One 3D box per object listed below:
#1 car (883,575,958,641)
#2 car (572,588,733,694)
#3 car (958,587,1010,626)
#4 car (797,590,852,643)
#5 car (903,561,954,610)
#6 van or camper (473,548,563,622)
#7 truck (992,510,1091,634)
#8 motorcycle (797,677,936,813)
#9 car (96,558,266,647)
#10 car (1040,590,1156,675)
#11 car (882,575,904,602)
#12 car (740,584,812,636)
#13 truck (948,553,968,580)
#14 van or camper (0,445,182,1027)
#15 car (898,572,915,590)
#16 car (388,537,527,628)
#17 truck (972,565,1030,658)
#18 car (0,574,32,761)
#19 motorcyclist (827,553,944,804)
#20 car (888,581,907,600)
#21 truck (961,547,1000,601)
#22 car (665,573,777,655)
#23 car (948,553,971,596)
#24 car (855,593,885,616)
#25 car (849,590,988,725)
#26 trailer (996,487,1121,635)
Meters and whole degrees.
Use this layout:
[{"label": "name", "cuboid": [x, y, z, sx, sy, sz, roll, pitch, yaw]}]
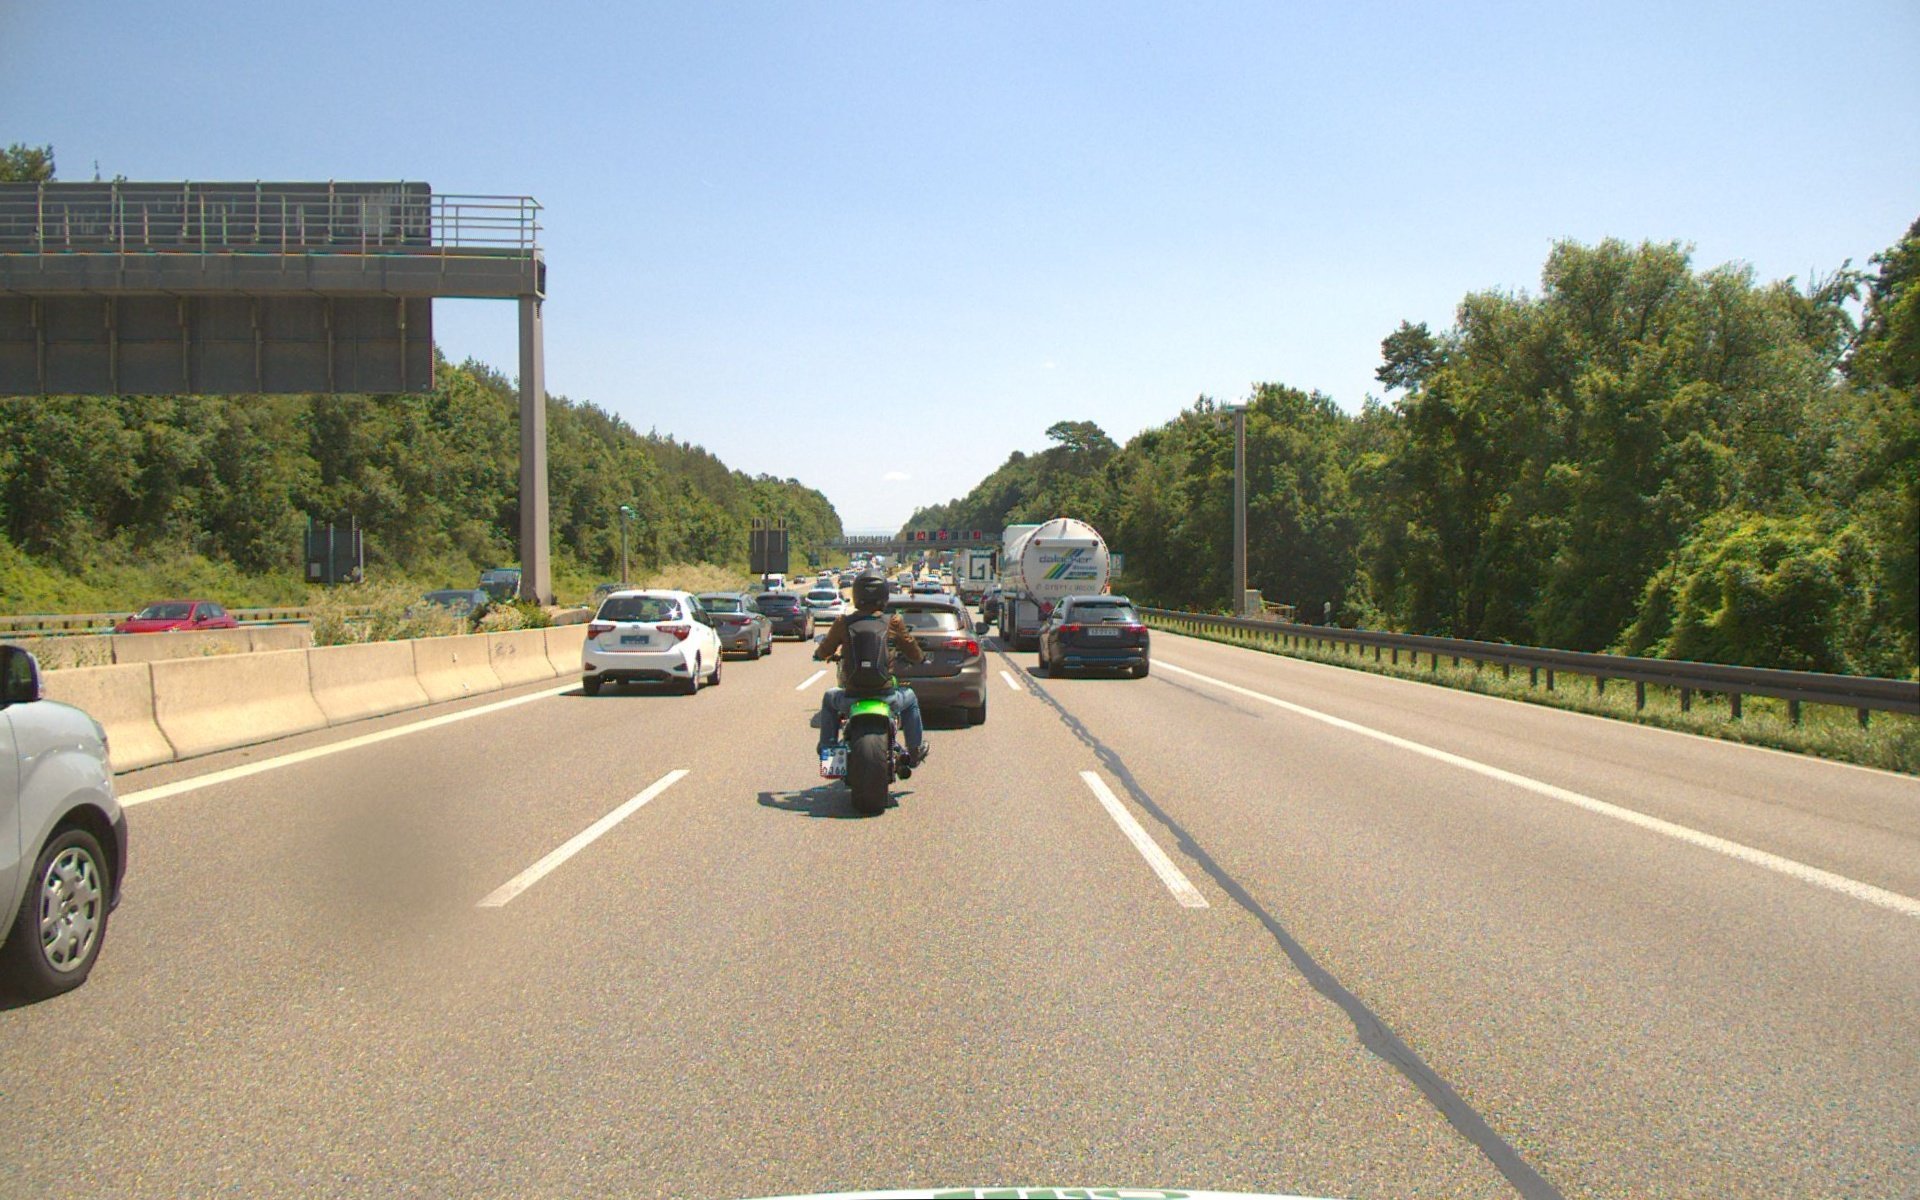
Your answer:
[{"label": "car", "cuboid": [-1.110, 0.250, 45.896, 1.953, 1.741, 3.998, 1, -1, -2]}, {"label": "car", "cuboid": [-4.594, 0.567, 25.214, 1.740, 1.435, 4.000, 1, 1, -1]}, {"label": "car", "cuboid": [0.981, 0.281, 69.301, 1.741, 1.554, 3.995, 1, -1, -5]}, {"label": "car", "cuboid": [-5.474, 0.686, 67.071, 1.953, 2.049, 3.998, 1, -1, -1]}, {"label": "car", "cuboid": [-1.282, -0.556, 65.705, 1.953, 1.806, 3.998, 1, -1, -2]}, {"label": "van or camper", "cuboid": [-18.489, -0.567, 69.525, 2.110, 2.909, 6.650, 1, -1, -2]}, {"label": "truck", "cuboid": [2.528, -0.798, 53.256, 2.770, 3.735, 6.427, 1, -1, -1]}, {"label": "motorcycle", "cuboid": [-0.640, 1.022, 12.216, 0.917, 0.807, 2.298, 1, 0, -1]}, {"label": "car", "cuboid": [-18.976, 0.092, 40.545, 2.080, 2.049, 4.363, 1, -1, 0]}, {"label": "car", "cuboid": [2.545, 0.610, 31.555, 1.755, 1.484, 4.623, 1, -1, -1]}, {"label": "car", "cuboid": [-5.246, -0.891, 129.563, 1.627, 2.013, 3.999, 0, -1, 0]}, {"label": "car", "cuboid": [-5.461, 0.322, 49.540, 1.954, 1.490, 3.996, 1, -1, -4]}, {"label": "truck", "cuboid": [-0.322, -4.671, 230.859, 2.641, 3.465, 10.476, 0, 0, -1]}, {"label": "van or camper", "cuboid": [-4.039, 0.445, 4.412, 1.815, 1.913, 4.560, 1, 0, -1]}, {"label": "car", "cuboid": [-6.543, -2.327, 201.974, 1.953, 2.049, 3.999, 0, 0, -1]}, {"label": "car", "cuboid": [-12.074, -0.352, 40.097, 1.953, 2.049, 5.152, 1, -1, -2]}, {"label": "truck", "cuboid": [2.044, 0.517, 85.708, 2.340, 4.542, 10.865, 0, 0, -2]}, {"label": "car", "cuboid": [-11.552, 0.699, 16.554, 1.952, 2.049, 4.348, 1, -1, 1]}, {"label": "motorcyclist", "cuboid": [-0.517, 0.551, 11.896, 0.782, 1.717, 1.016, 1, -1, -1]}, {"label": "car", "cuboid": [-5.587, -0.838, 148.620, 1.627, 1.627, 3.999, 0, -1, 0]}, {"label": "truck", "cuboid": [1.585, -1.918, 125.990, 2.794, 3.888, 7.188, 1, -1, 2]}, {"label": "car", "cuboid": [-5.317, 0.341, 37.322, 1.953, 1.713, 4.329, 1, -1, -1]}, {"label": "car", "cuboid": [-0.042, -2.487, 164.499, 2.123, 3.961, 9.327, 1, -1, -1]}, {"label": "car", "cuboid": [-5.821, 0.271, 106.982, 1.728, 1.467, 4.000, 0, 0, 0]}, {"label": "car", "cuboid": [-0.480, 0.637, 20.187, 1.509, 1.476, 3.999, 1, 0, -1]}, {"label": "trailer", "cuboid": [2.615, -0.896, 47.390, 2.770, 3.735, 10.729, 1, -1, -1]}]
